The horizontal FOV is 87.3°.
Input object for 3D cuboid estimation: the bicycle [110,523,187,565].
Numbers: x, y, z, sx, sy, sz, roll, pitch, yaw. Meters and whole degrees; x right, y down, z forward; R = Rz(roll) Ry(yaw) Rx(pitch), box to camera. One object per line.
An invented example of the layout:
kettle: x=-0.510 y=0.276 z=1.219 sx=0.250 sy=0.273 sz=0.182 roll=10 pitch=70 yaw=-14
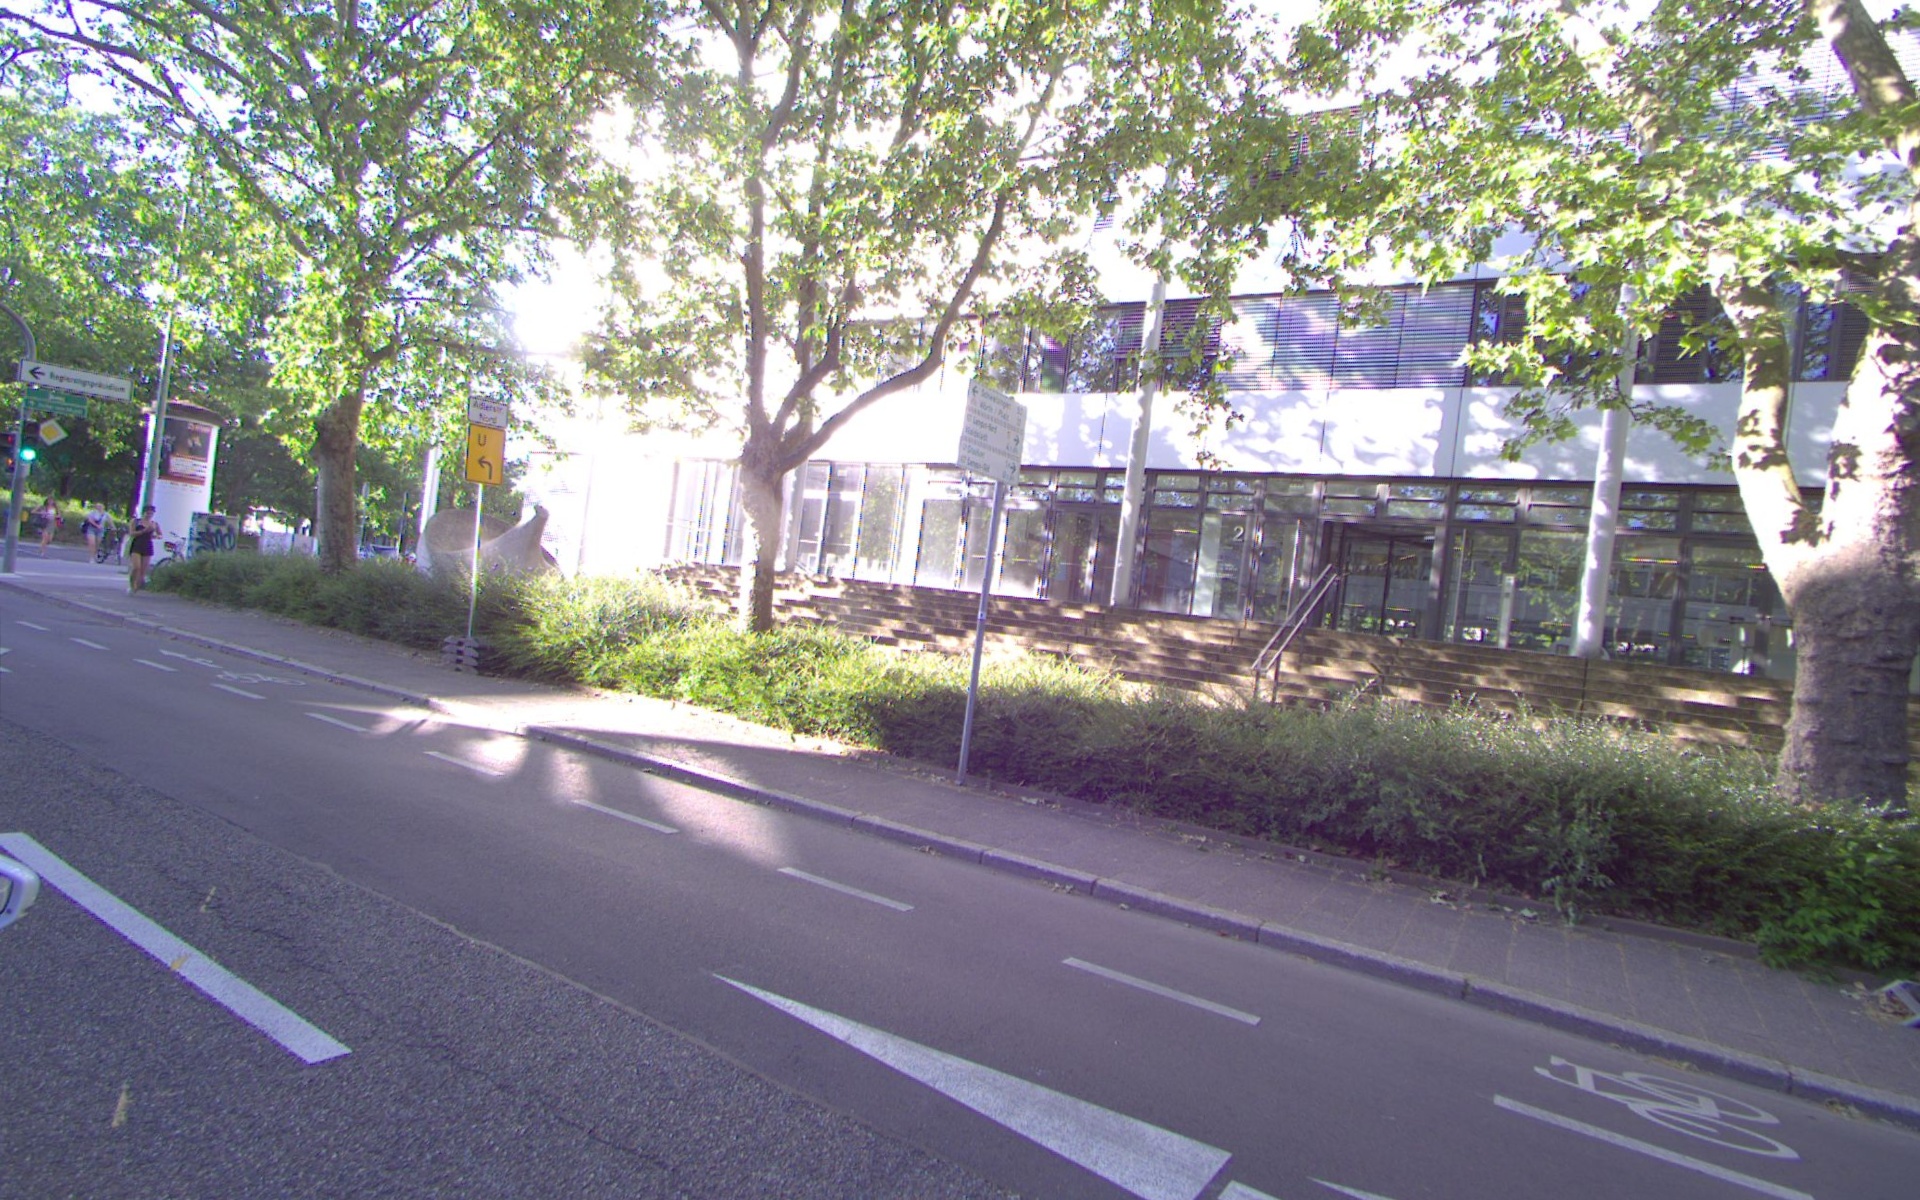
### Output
bicycle: x=-29.812 y=-2.048 z=36.987 sx=0.589 sy=1.234 sz=2.035 roll=6 pitch=-2 yaw=31

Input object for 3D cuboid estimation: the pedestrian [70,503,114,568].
pedestrian: x=-24.634 y=-1.839 z=28.546 sx=0.957 sy=1.717 sz=0.682 roll=6 pitch=-1 yaw=42

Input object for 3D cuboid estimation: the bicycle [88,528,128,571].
bicycle: x=-24.377 y=-1.450 z=28.784 sx=1.717 sy=1.113 sz=0.524 roll=6 pitch=-2 yaw=41

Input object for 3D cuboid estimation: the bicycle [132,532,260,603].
bicycle: x=-15.930 y=-0.653 z=21.048 sx=0.519 sy=1.203 sz=1.980 roll=7 pitch=-2 yaw=30

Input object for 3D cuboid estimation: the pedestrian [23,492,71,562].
pedestrian: x=-25.232 y=-2.014 z=27.800 sx=0.896 sy=1.830 sz=0.731 roll=5 pitch=0 yaw=39

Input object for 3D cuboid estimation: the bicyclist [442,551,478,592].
bicyclist: x=-22.323 y=-1.260 z=44.883 sx=0.856 sy=1.634 sz=0.965 roll=6 pitch=-1 yaw=34

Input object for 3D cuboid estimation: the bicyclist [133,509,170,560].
bicyclist: x=-29.744 y=-2.409 z=37.017 sx=0.664 sy=1.717 sz=0.711 roll=6 pitch=-1 yaw=32

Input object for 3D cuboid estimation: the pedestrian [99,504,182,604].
pedestrian: x=-14.612 y=-0.812 z=17.943 sx=0.892 sy=1.651 sz=0.799 roll=6 pitch=0 yaw=32

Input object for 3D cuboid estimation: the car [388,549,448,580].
car: x=-35.558 y=-2.331 z=65.961 sx=3.732 sy=1.500 sz=1.633 roll=6 pitch=-2 yaw=31
